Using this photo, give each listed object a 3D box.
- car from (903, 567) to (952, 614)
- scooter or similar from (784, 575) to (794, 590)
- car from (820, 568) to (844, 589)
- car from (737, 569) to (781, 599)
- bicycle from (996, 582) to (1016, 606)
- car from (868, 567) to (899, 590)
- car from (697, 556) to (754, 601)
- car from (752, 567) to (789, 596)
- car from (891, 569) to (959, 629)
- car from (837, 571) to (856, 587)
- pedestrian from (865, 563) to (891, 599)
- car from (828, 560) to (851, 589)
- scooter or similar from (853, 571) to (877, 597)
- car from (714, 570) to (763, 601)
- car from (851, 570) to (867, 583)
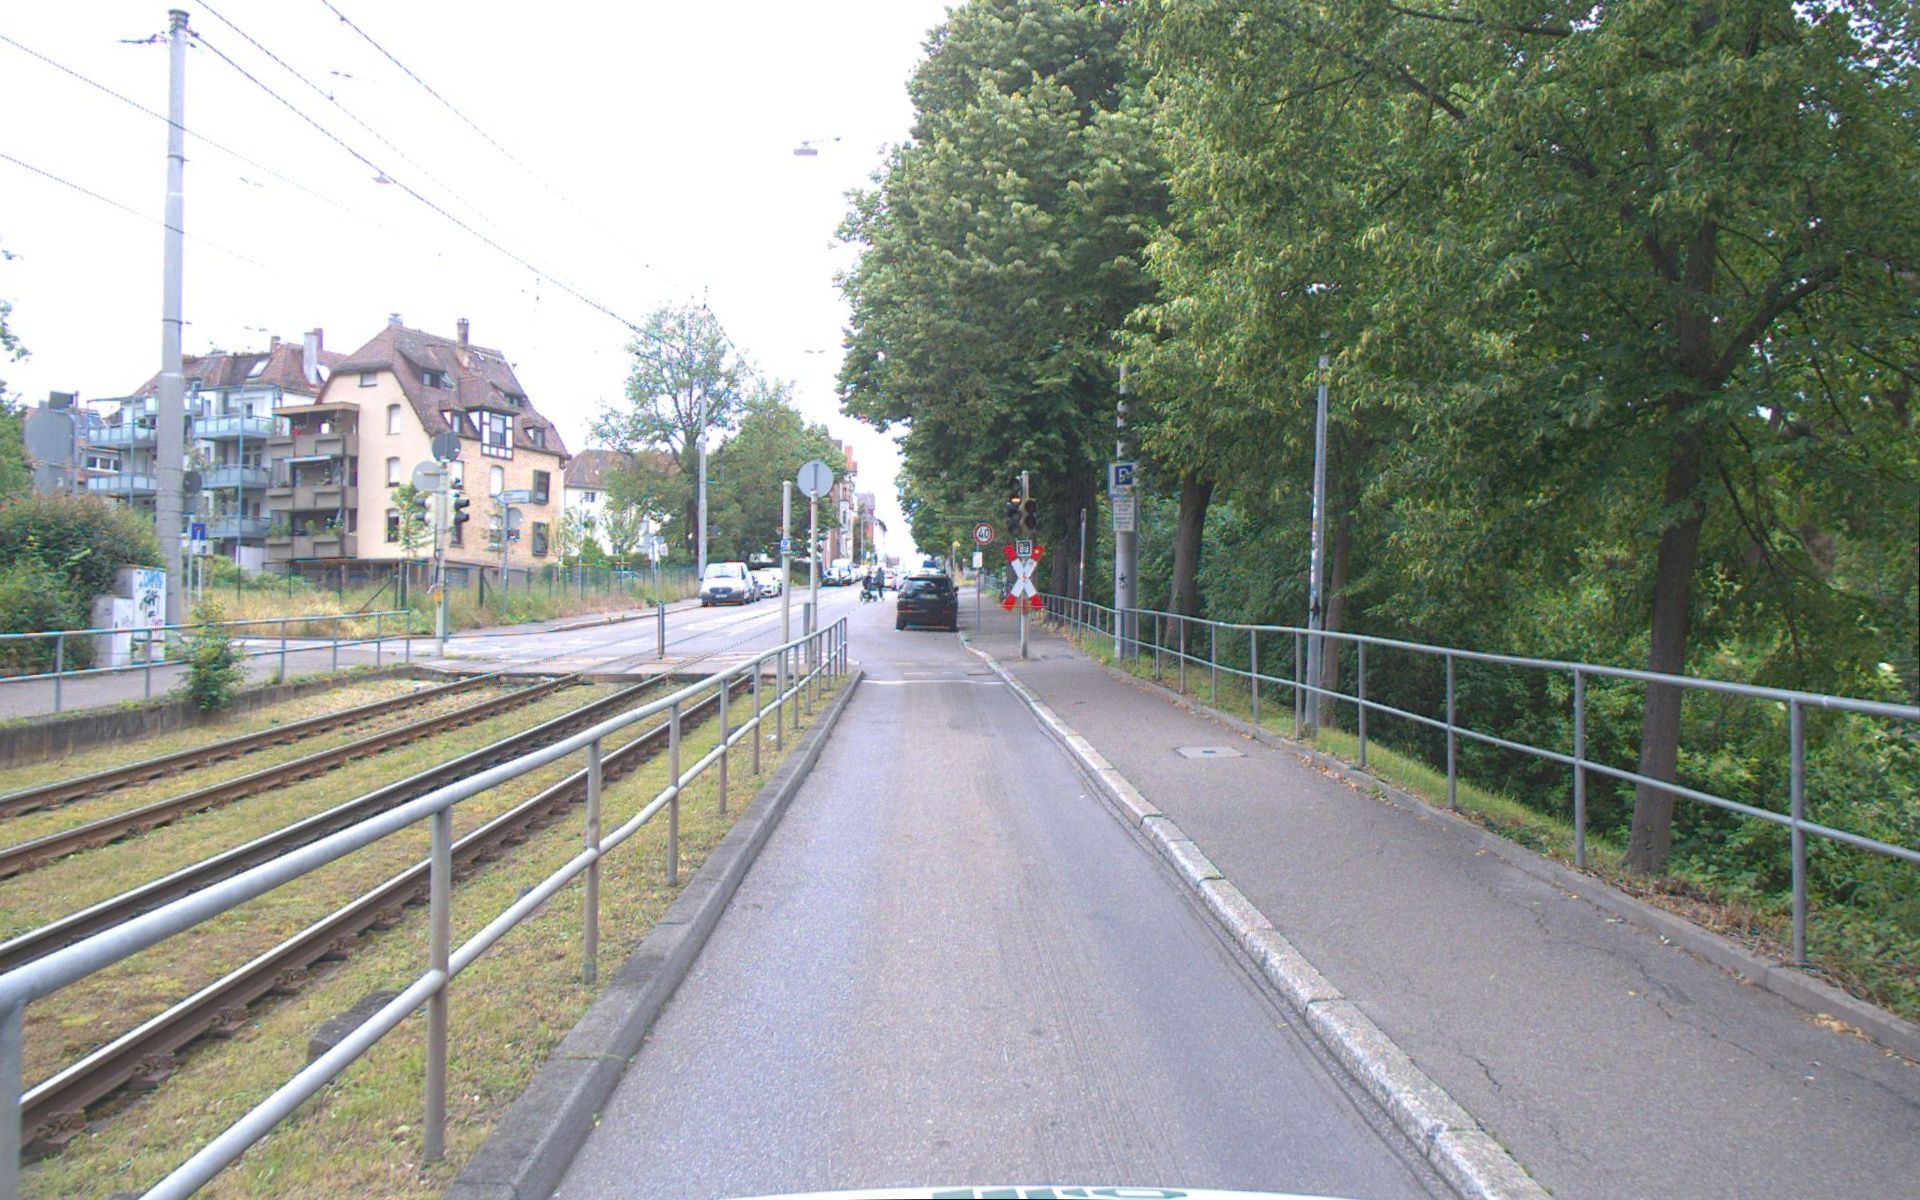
[{"bbox_3d":[-1.302,-0.416,64.927,1.692,1.659,4.086,4,1,-3],"label":"car"},{"bbox_3d":[-15.509,-1.581,149.961,0.677,1.362,1.639,1,0,0],"label":"scooter or similar"},{"bbox_3d":[-12.000,-2.017,155.174,1.952,1.840,4.000,1,0,0],"label":"car"},{"bbox_3d":[-10.784,-0.872,88.941,1.847,1.552,4.662,-1,1,-1],"label":"car"},{"bbox_3d":[1.888,-0.251,67.806,0.419,0.993,1.790,1,0,-11],"label":"bicycle"},{"bbox_3d":[-5.166,-1.430,111.523,1.953,1.525,4.311,1,0,-1],"label":"car"},{"bbox_3d":[-10.549,-0.940,74.704,1.995,1.914,4.883,-2,0,-2],"label":"car"},{"bbox_3d":[-10.819,-1.044,94.654,1.688,1.607,4.180,-1,1,-1],"label":"car"},{"bbox_3d":[-0.998,-0.063,49.089,1.865,1.643,4.600,2,1,0],"label":"car"},{"bbox_3d":[-12.346,-2.253,179.975,1.954,1.628,4.309,1,0,-3],"label":"car"},{"bbox_3d":[-3.878,-0.892,77.821,0.900,1.657,0.803,1,0,41],"label":"pedestrian"},{"bbox_3d":[-12.320,-2.570,169.658,2.186,2.812,5.796,1,0,-3],"label":"car"},{"bbox_3d":[-4.505,-0.758,78.365,0.824,1.217,0.803,1,0,41],"label":"scooter or similar"},{"bbox_3d":[-10.738,-0.726,80.413,1.858,1.457,4.511,-1,1,-1],"label":"car"},{"bbox_3d":[-13.014,-3.017,213.480,1.885,1.629,3.999,1,0,-1],"label":"car"}]
